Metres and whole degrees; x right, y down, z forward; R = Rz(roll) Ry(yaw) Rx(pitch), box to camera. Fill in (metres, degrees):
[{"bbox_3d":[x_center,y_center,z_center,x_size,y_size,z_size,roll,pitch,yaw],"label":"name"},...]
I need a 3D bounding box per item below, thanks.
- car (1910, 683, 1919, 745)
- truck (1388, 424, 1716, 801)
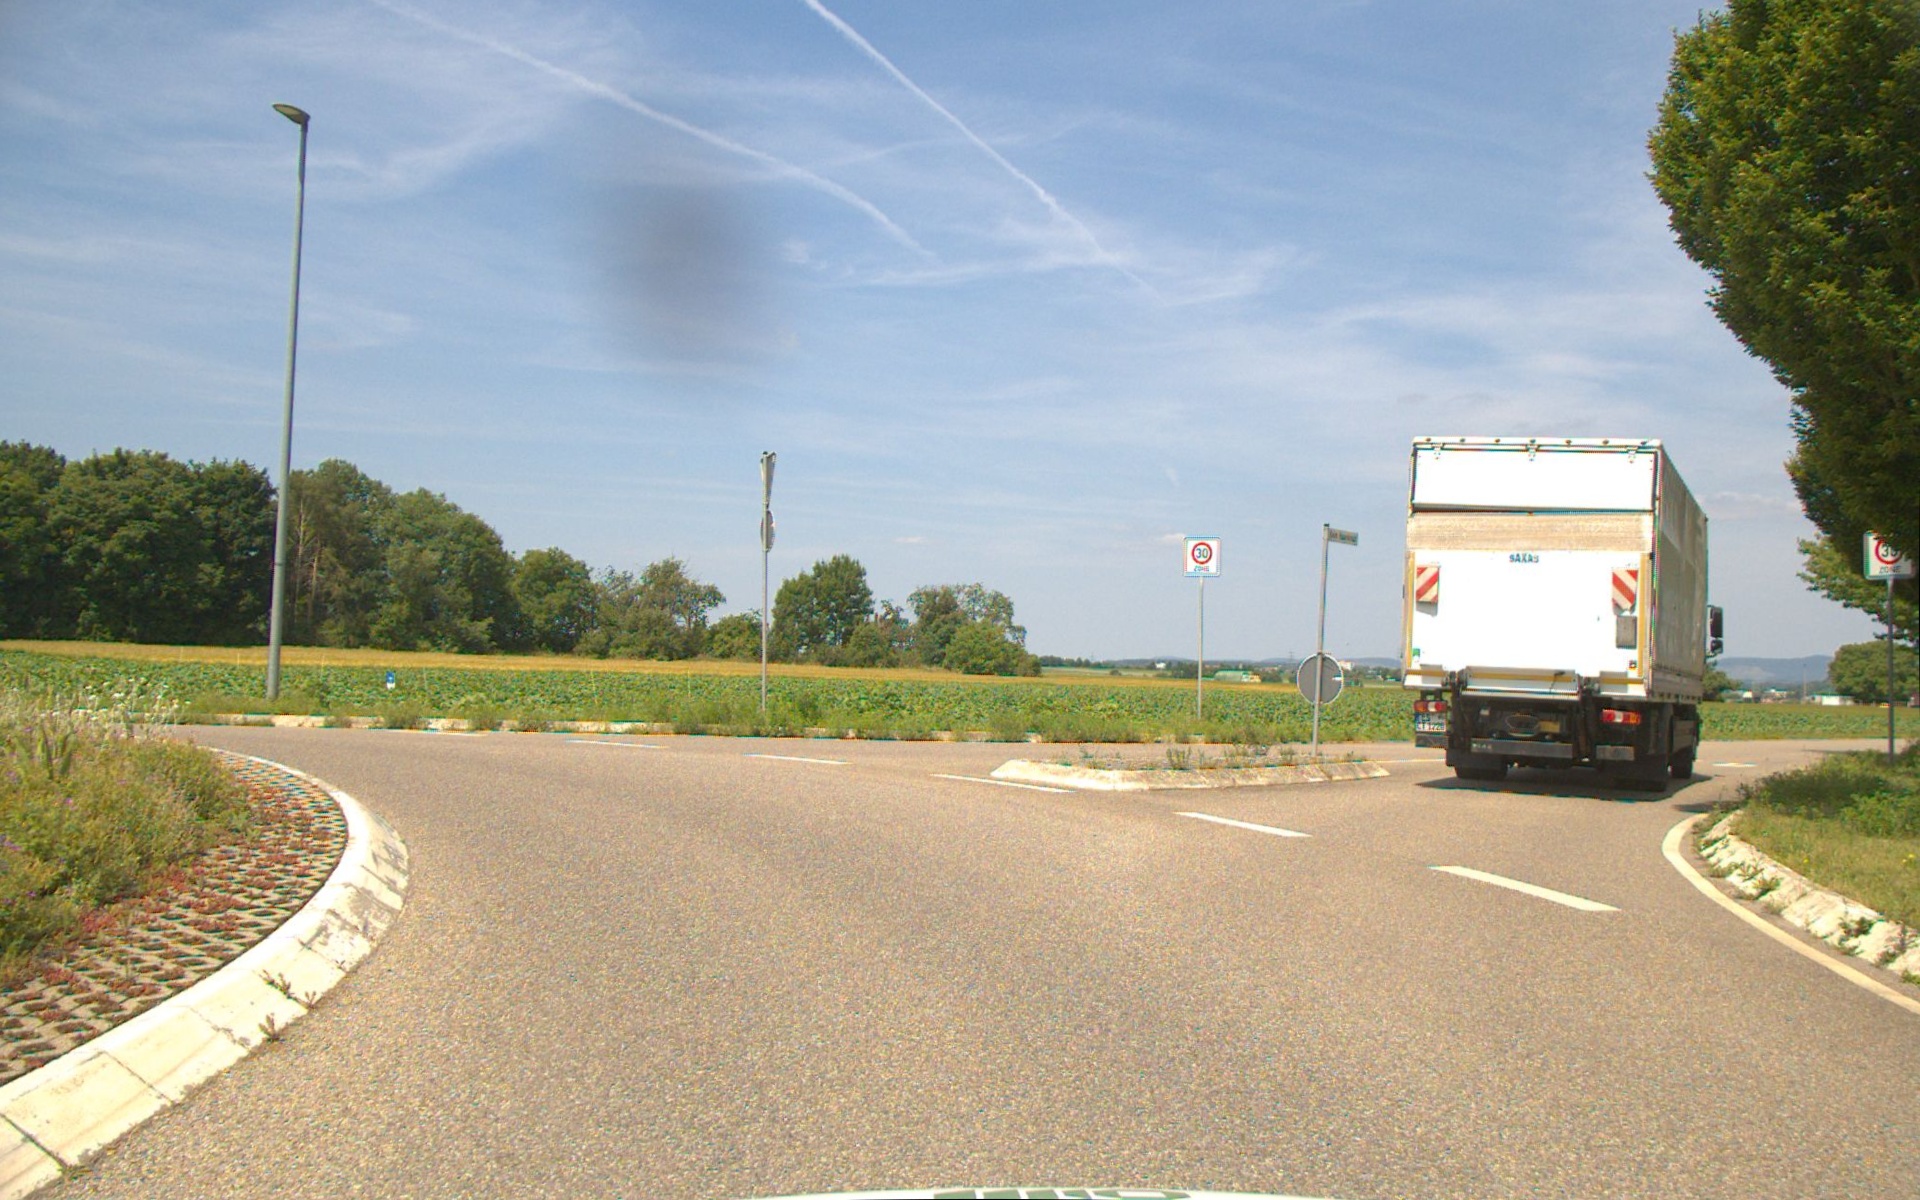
[{"bbox_3d":[30.160,3.493,50.124,1.960,1.825,3.984,0,-3,36],"label":"car"},{"bbox_3d":[7.944,0.296,21.188,2.713,3.735,9.369,2,-2,27],"label":"truck"}]
